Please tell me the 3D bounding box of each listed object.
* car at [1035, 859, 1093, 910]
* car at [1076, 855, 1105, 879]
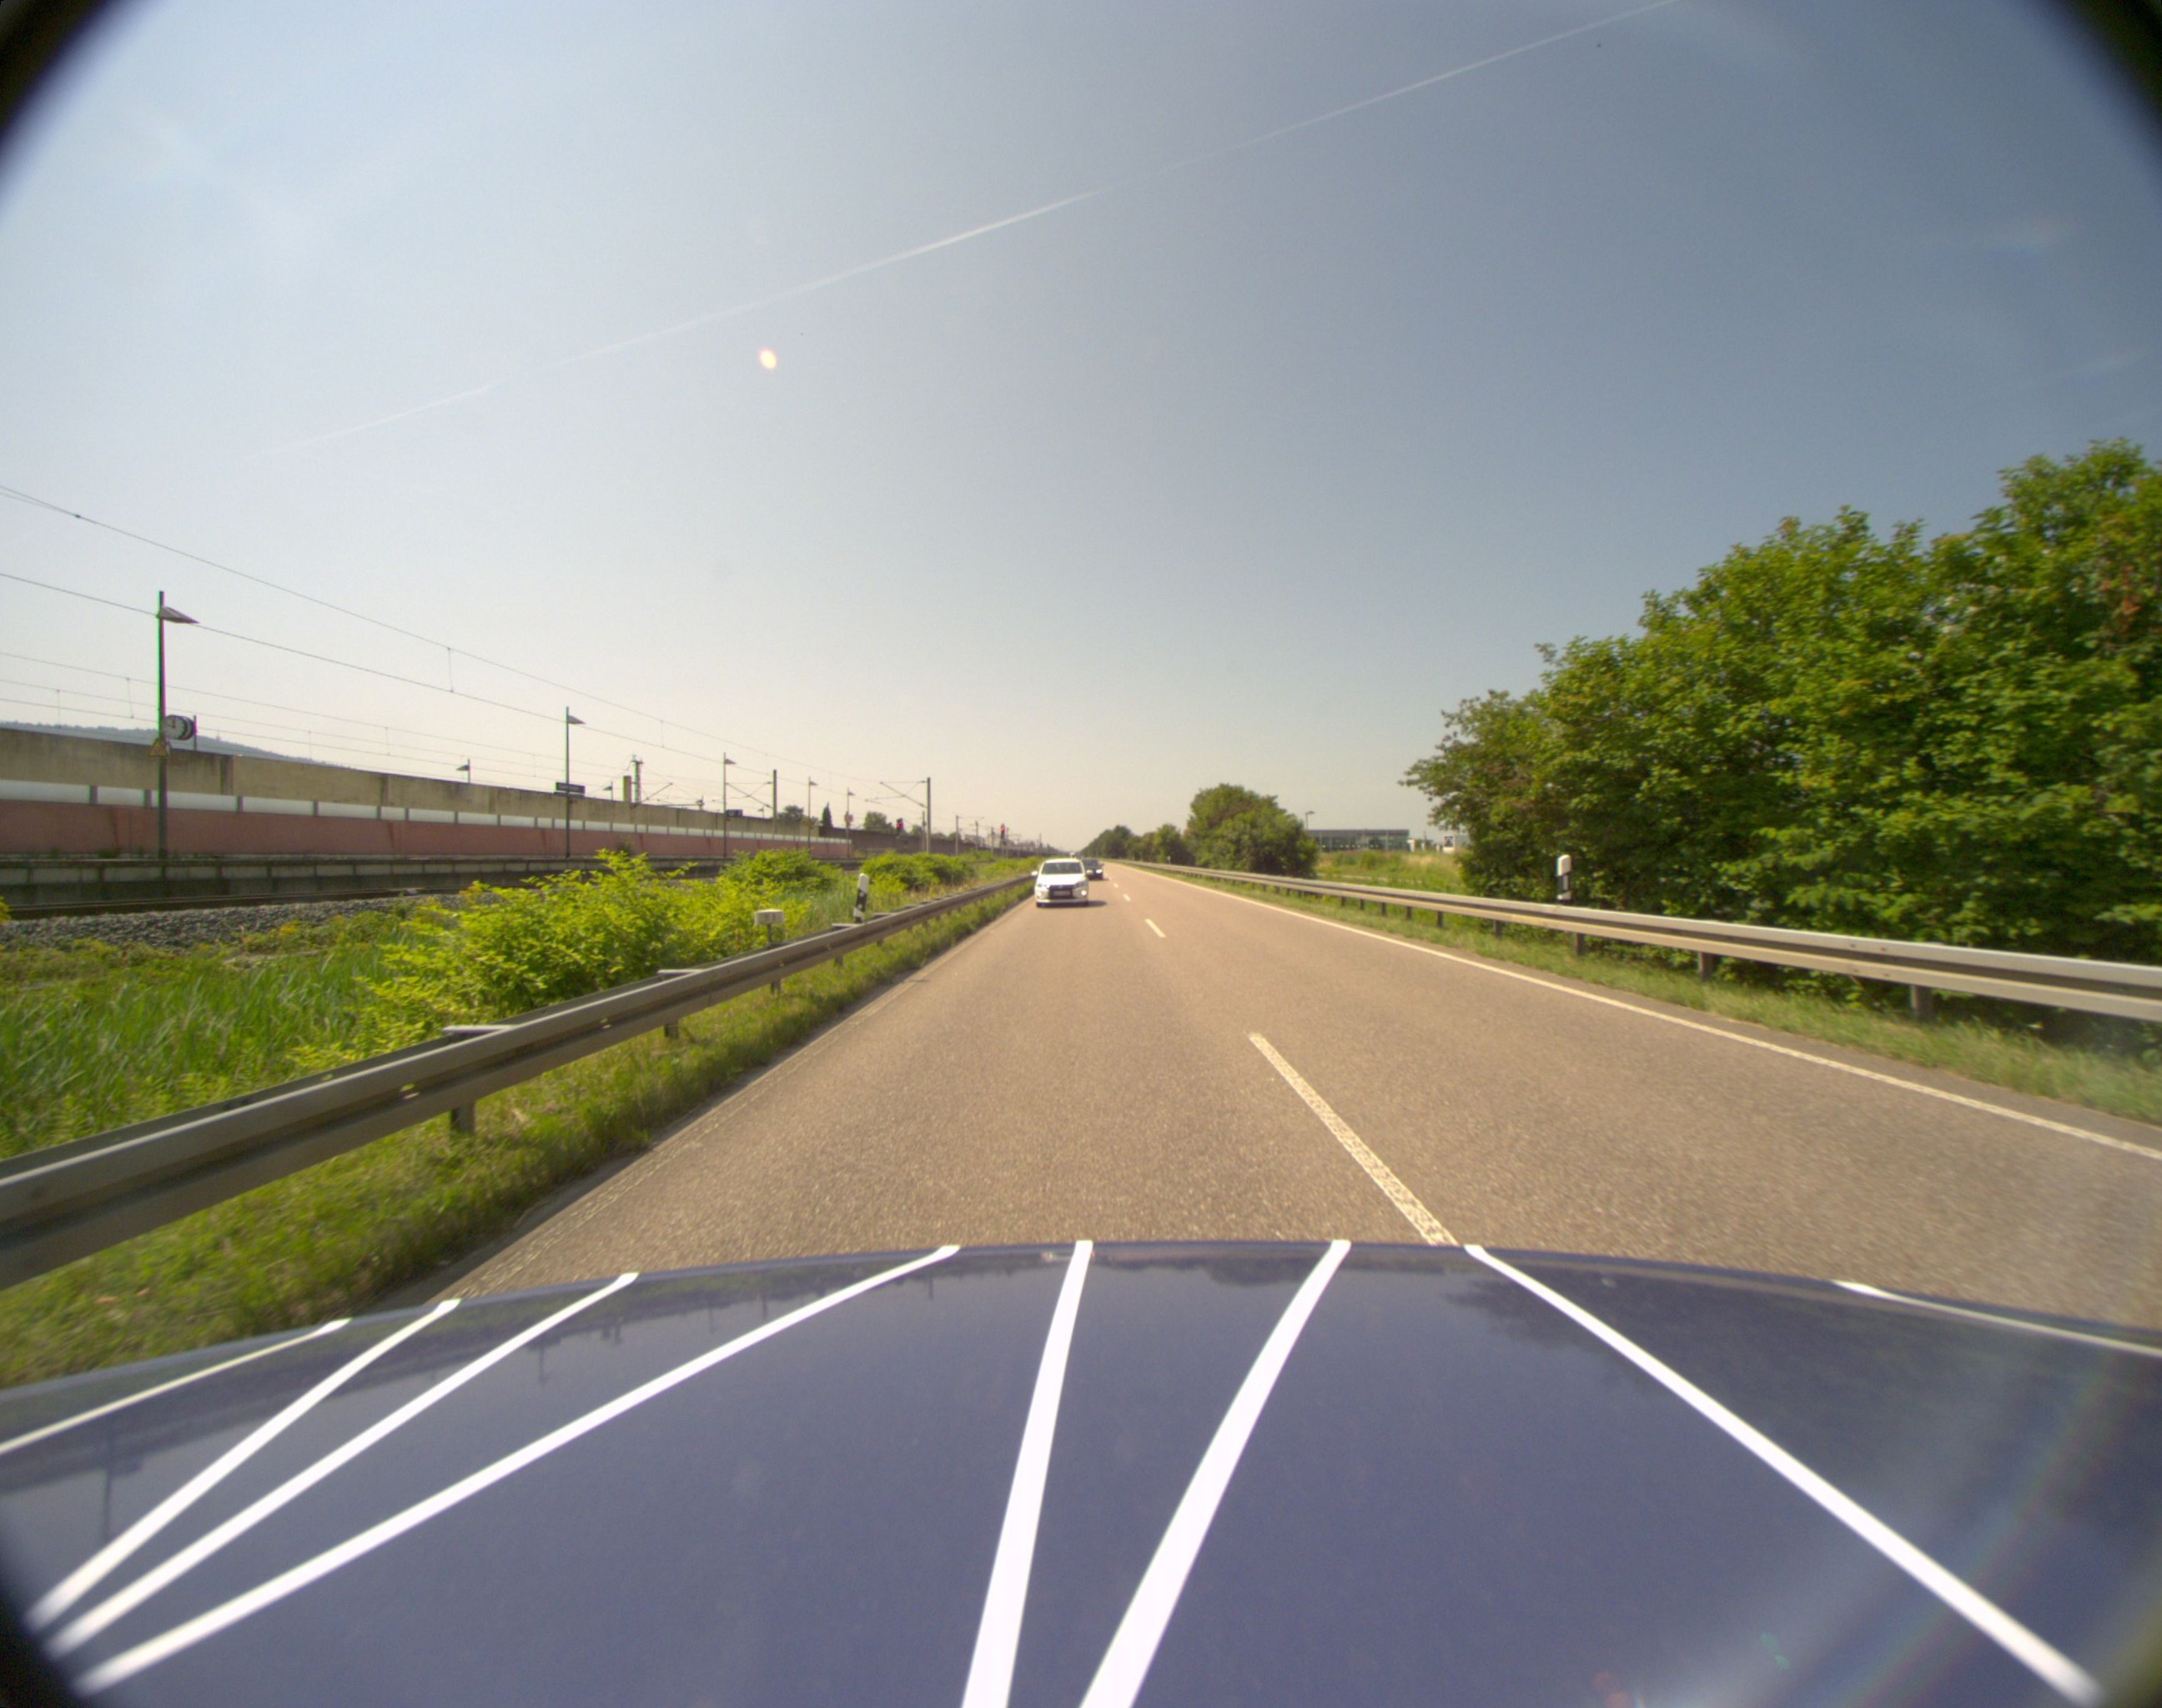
[{"bbox_3d":[-0.560,0.917,24.912,1.701,1.470,4.154,-1,0,-1],"label":"car"},{"bbox_3d":[0.590,0.835,50.299,1.711,1.470,4.154,-1,0,-1],"label":"car"}]
